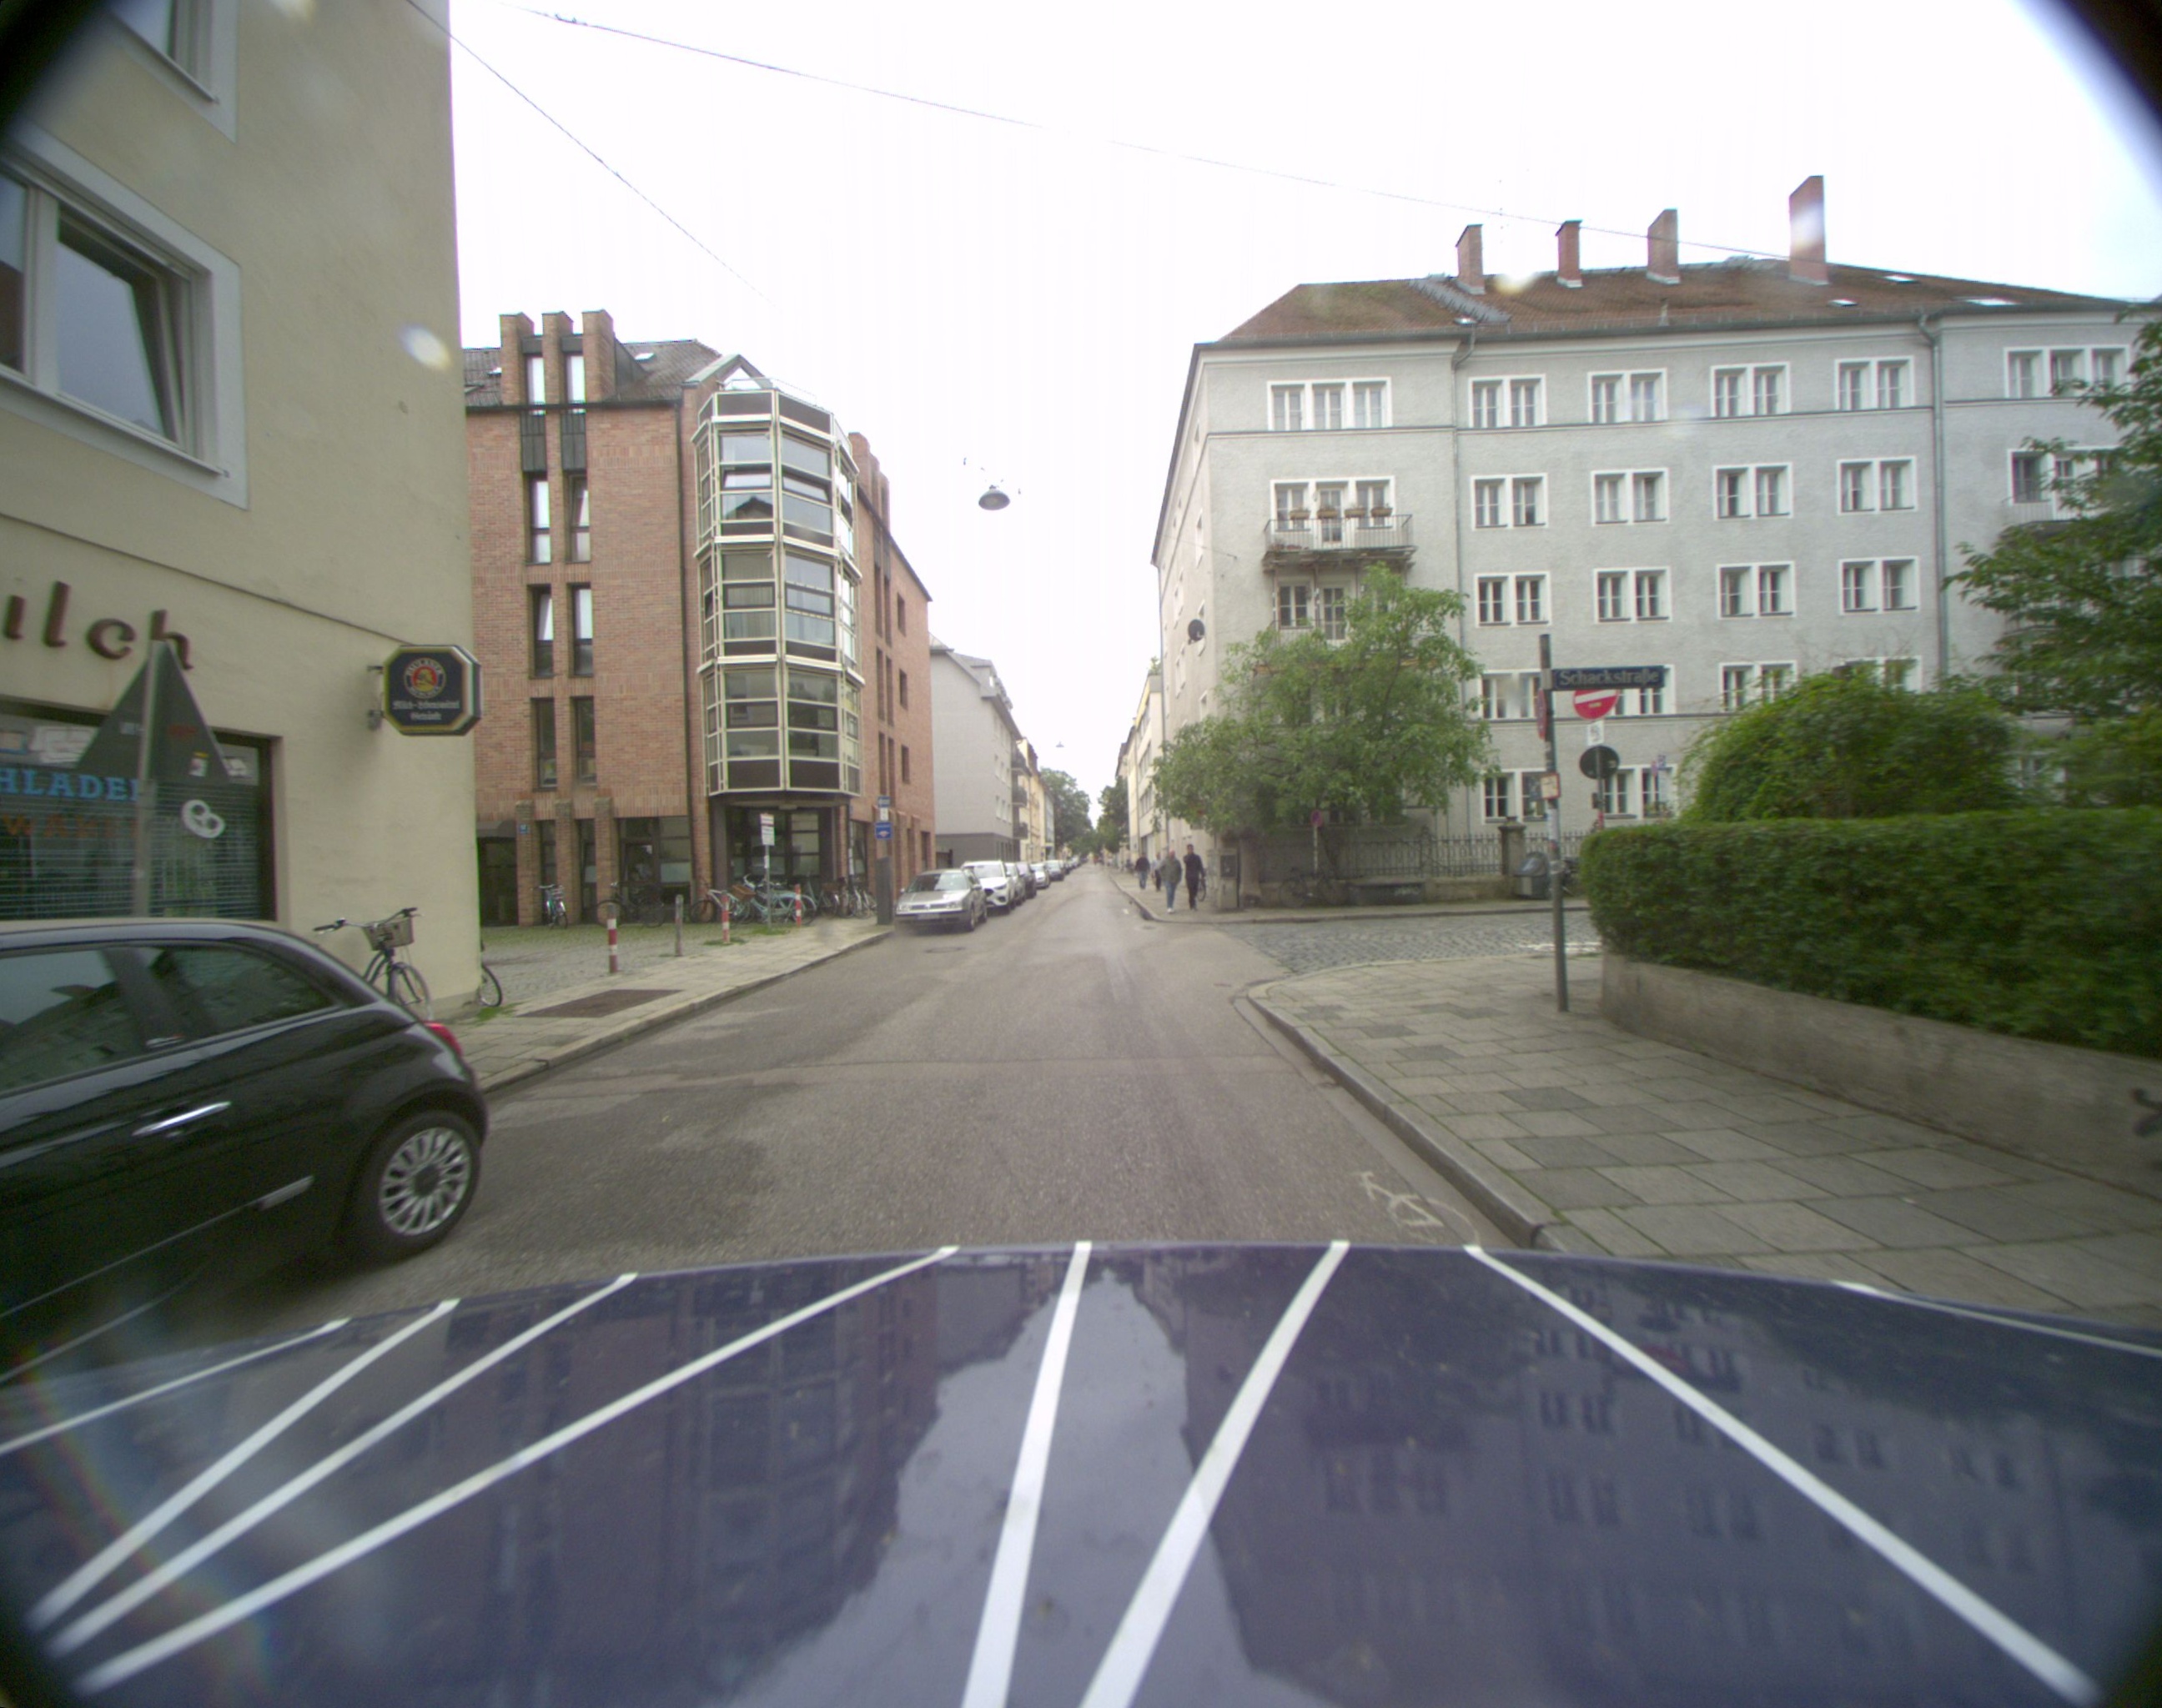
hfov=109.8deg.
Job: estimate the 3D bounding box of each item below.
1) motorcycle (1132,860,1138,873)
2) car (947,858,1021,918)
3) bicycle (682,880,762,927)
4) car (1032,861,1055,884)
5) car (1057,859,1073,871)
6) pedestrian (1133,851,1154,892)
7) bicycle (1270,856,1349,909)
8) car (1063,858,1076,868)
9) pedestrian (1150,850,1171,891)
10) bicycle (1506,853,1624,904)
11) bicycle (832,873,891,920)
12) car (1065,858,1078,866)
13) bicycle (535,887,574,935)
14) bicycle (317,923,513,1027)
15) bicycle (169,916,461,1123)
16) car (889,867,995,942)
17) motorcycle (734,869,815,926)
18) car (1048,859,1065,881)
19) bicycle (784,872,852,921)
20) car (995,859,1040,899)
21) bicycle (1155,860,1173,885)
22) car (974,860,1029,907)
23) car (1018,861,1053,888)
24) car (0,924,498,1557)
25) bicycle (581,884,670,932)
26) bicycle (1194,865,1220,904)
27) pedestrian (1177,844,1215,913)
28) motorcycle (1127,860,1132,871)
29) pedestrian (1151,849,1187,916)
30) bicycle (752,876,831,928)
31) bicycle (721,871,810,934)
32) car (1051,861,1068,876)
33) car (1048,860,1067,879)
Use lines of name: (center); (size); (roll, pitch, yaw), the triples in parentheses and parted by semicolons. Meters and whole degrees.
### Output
motorcycle: (4.330, 0.994, 60.715); (0.324, 0.968, 1.961); (-3, 0, 1)
car: (-2.953, 0.995, 23.884); (1.725, 1.606, 4.454); (-3, 0, -1)
bicycle: (-8.662, 1.198, 18.347); (1.752, 1.066, 0.443); (-1, 0, 7)
car: (-2.389, 1.174, 48.766); (1.154, 1.367, 2.685); (-3, 0, 1)
car: (-1.713, 1.170, 83.253); (1.525, 1.259, 3.210); (-3, 0, 1)
pedestrian: (2.736, 0.761, 33.255); (0.721, 1.718, 0.841); (-6, 0, 1)
bicycle: (5.734, 0.712, 19.073); (1.811, 1.253, 0.432); (-2, 0, 0)
car: (-1.522, 1.219, 104.514); (1.557, 1.280, 3.538); (-3, 0, 1)
pedestrian: (3.457, 0.705, 33.233); (0.695, 1.718, 0.841); (-6, 0, 1)
bicycle: (11.894, 0.589, 18.703); (2.489, 1.149, 0.991); (-1, 0, -14)
bicycle: (-6.149, 1.173, 21.371); (0.741, 1.210, 1.782); (-1, 1, 15)
car: (-1.486, 1.256, 122.073); (1.998, 1.259, 4.000); (-3, 0, 1)
bicycle: (-12.495, 1.335, 18.019); (1.422, 1.066, 0.443); (-1, 0, 44)
bicycle: (-7.077, 1.277, 8.106); (1.705, 1.021, 0.411); (-1, 2, 1)
bicycle: (-5.877, 1.189, 6.007); (0.411, 1.207, 1.819); (1, 1, 1)
car: (-3.194, 1.110, 18.319); (1.725, 1.426, 4.358); (-3, 0, -1)
motorcycle: (-7.579, 1.070, 18.824); (1.765, 1.376, 0.552); (0, 0, -4)
car: (-1.726, 1.139, 53.929); (1.043, 1.429, 2.251); (-3, 0, 1)
bicycle: (-6.996, 1.108, 20.217); (1.872, 1.222, 0.594); (-1, 1, 30)
car: (-2.735, 1.041, 33.589); (1.619, 1.570, 4.051); (-3, 0, -1)
bicycle: (4.071, 0.904, 37.282); (0.450, 1.187, 1.498); (-3, 0, -8)
car: (-2.878, 1.045, 28.315); (1.619, 1.548, 3.807); (-3, 0, -1)
car: (-2.574, 1.150, 43.463); (1.619, 1.368, 3.817); (-3, 0, 1)
car: (-3.609, 1.106, 1.765); (1.638, 1.462, 3.538); (-4, 0, 1)
bicycle: (-10.657, 1.258, 17.789); (1.884, 1.066, 0.443); (-1, 0, 7)
bicycle: (3.794, 0.893, 23.024); (0.432, 1.088, 1.703); (-3, 0, -1)
pedestrian: (3.053, 0.634, 20.242); (0.692, 1.752, 0.741); (-4, 0, -9)
motorcycle: (4.516, 1.066, 70.310); (0.324, 0.968, 1.961); (-3, 0, 1)
pedestrian: (2.295, 0.733, 19.874); (0.691, 1.668, 0.859); (-4, 0, -1)
bicycle: (-6.883, 1.129, 18.106); (1.752, 1.180, 0.443); (0, 1, 7)
bicycle: (-7.216, 1.088, 17.396); (1.807, 1.315, 0.586); (-2, 2, -24)
car: (-1.909, 1.267, 68.619); (1.352, 1.259, 3.037); (-3, 0, 1)
car: (-1.780, 1.190, 57.818); (1.190, 1.312, 2.780); (-3, 0, 1)
